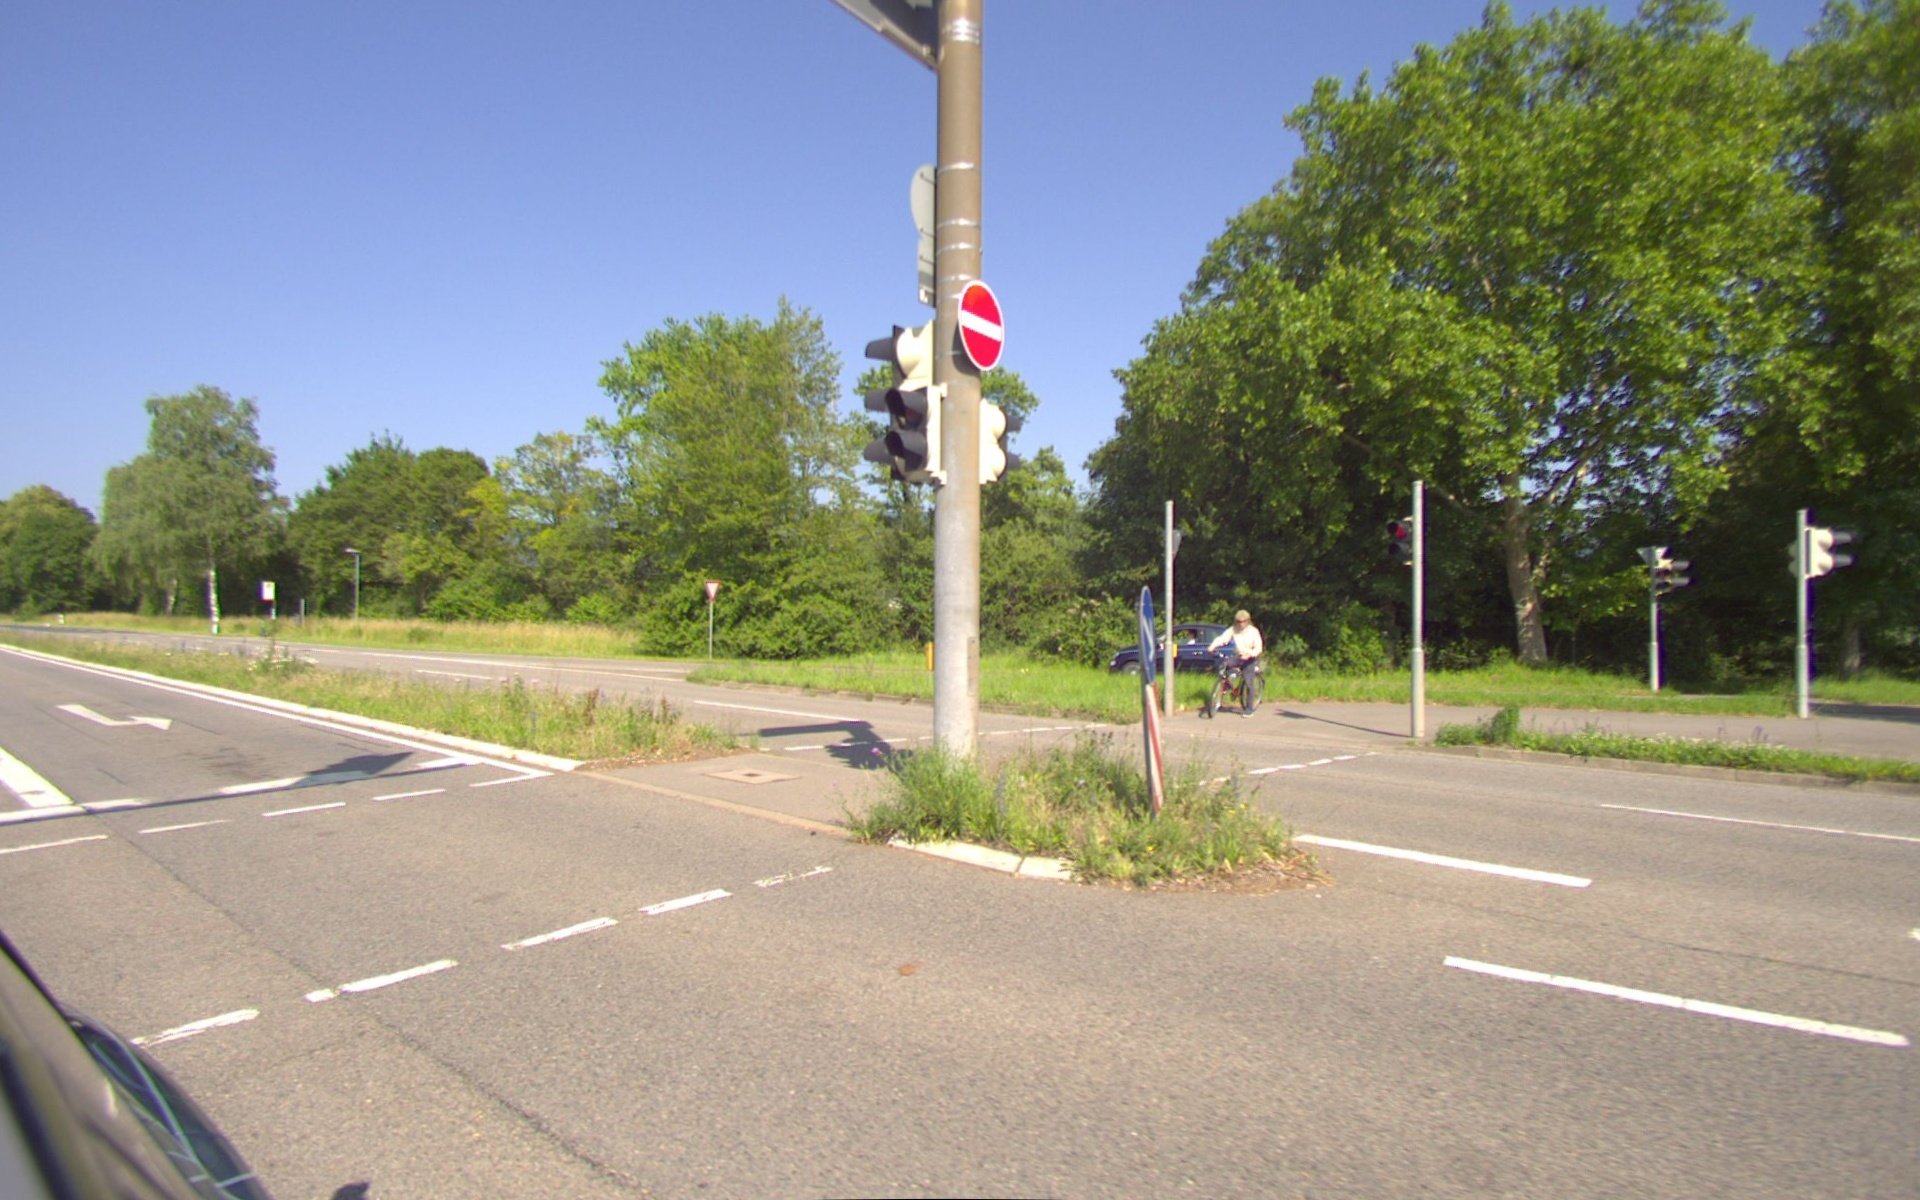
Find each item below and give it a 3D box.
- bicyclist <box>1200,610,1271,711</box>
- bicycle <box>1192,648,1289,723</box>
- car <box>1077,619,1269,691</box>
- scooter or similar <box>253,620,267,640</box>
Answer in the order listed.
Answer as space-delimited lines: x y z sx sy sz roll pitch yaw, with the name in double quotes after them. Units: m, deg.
4.378 0.936 16.076 0.836 1.529 0.748 0 0 -44 "bicyclist"
4.497 1.328 16.164 1.656 1.049 0.748 0 0 -44 "bicycle"
5.140 1.277 24.369 4.256 1.506 1.985 1 -2 22 "car"
-42.911 1.857 62.030 1.340 1.195 0.364 0 -2 42 "scooter or similar"
